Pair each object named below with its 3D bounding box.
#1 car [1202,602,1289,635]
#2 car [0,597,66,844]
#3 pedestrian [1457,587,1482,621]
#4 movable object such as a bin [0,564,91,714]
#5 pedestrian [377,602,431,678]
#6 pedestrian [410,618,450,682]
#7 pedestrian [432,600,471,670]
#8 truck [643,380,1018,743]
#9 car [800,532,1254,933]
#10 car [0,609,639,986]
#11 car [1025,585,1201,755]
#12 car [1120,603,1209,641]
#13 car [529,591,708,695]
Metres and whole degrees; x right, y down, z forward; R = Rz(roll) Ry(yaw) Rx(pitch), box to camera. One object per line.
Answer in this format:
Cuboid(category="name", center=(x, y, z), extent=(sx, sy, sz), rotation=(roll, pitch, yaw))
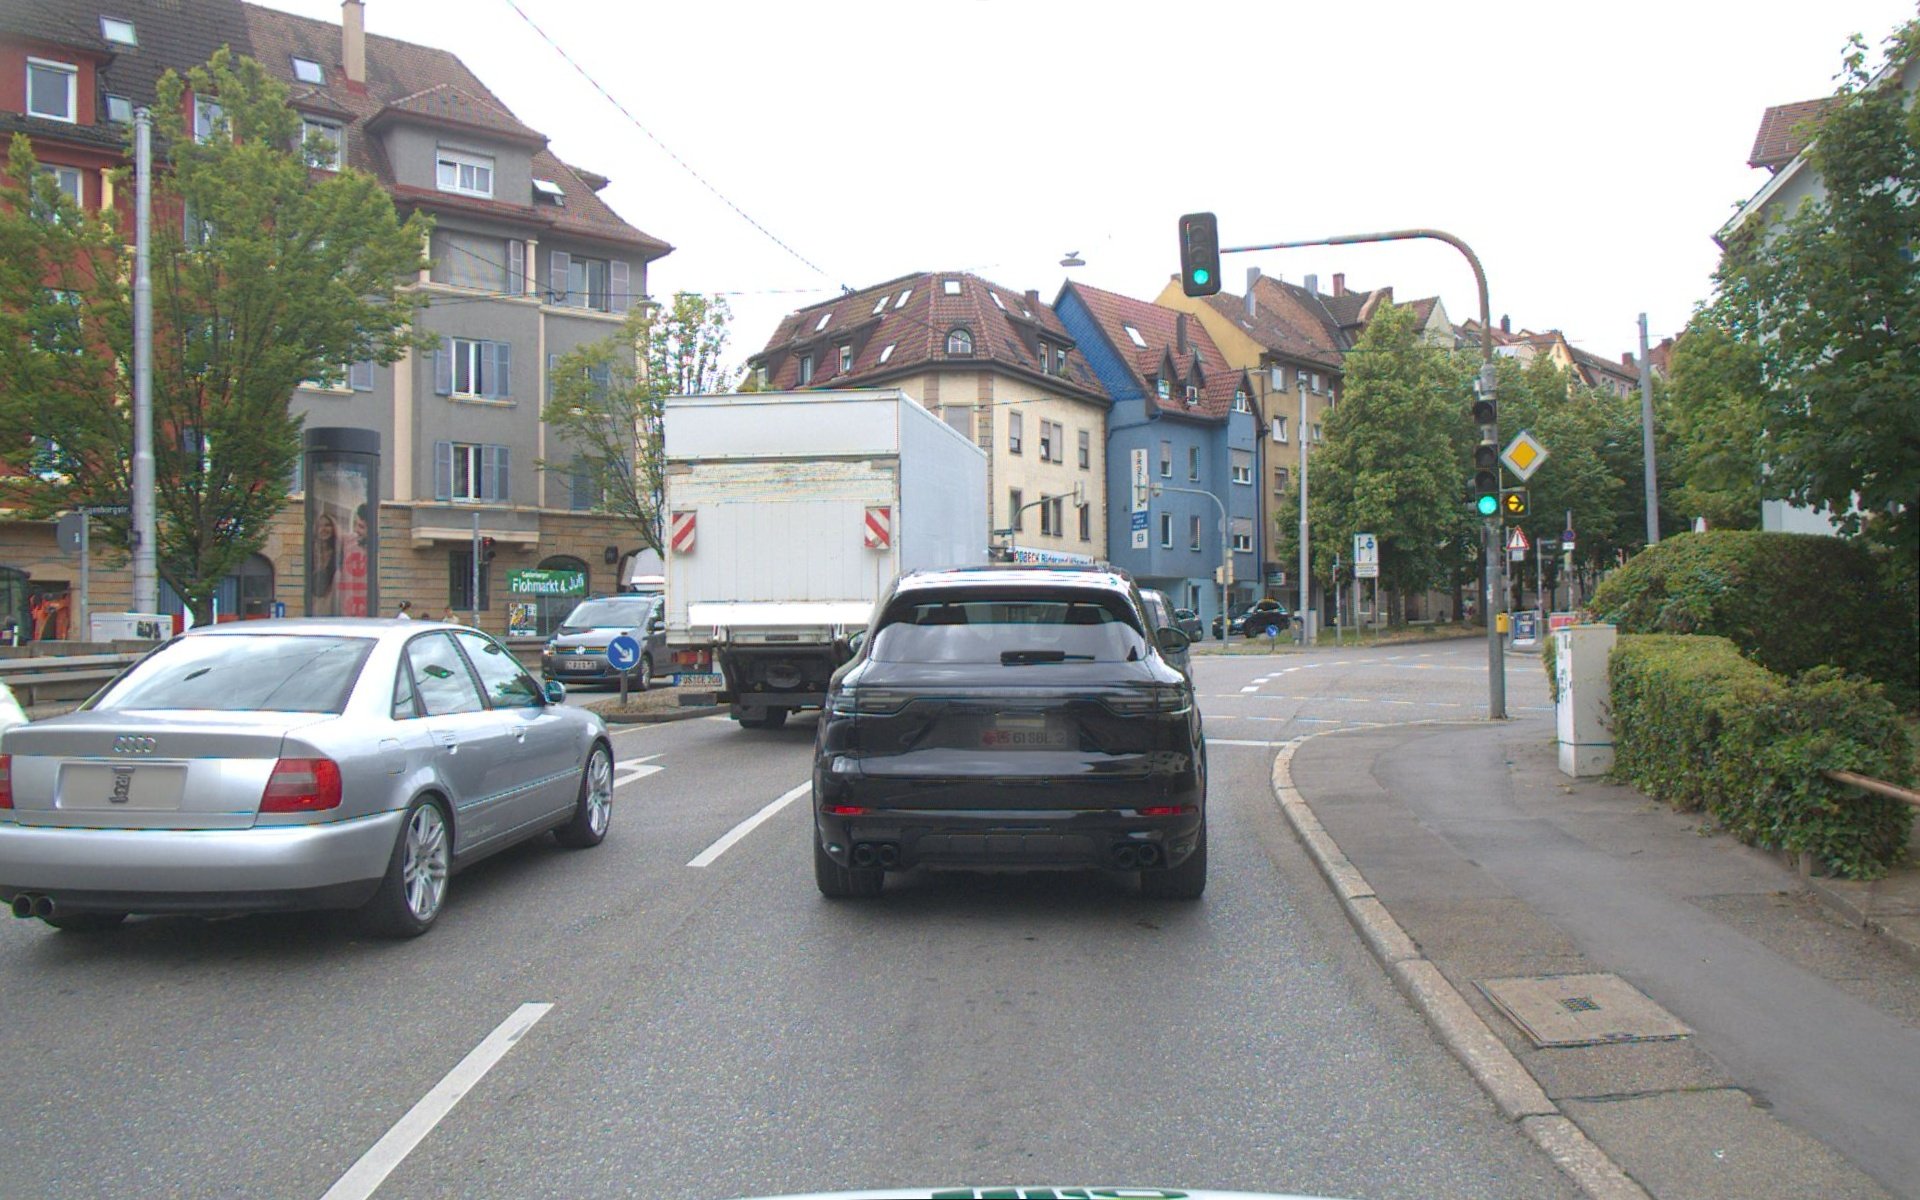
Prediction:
Cuboid(category="car", center=(13.043, 0.848, 75.347), extent=(1.841, 1.441, 4.675), rotation=(-2, -2, 39))
Cuboid(category="car", center=(-6.474, 0.721, 8.826), extent=(1.565, 1.472, 3.529), rotation=(-1, 0, -2))
Cuboid(category="pedestrian", center=(30.906, 0.233, 100.390), extent=(1.173, 2.049, 0.984), rotation=(-1, 0, 39))
Cuboid(category="movable object such as a bin", center=(-14.023, 0.549, 24.246), extent=(1.351, 2.049, 3.525), rotation=(-1, 0, -13))
Cuboid(category="pedestrian", center=(-11.699, 0.839, 34.824), extent=(0.777, 1.573, 0.737), rotation=(0, 0, 27))
Cuboid(category="pedestrian", center=(-11.407, 1.078, 35.630), extent=(0.563, 1.361, 0.583), rotation=(-1, 0, 25))
Cuboid(category="pedestrian", center=(-11.128, 0.756, 36.224), extent=(0.511, 1.513, 0.653), rotation=(0, 0, 21))
Cuboid(category="truck", center=(-1.183, -0.407, 20.801), extent=(2.667, 3.606, 8.428), rotation=(1, 0, 10))
Cuboid(category="car", center=(0.259, 0.567, 9.560), extent=(1.990, 1.753, 4.499), rotation=(1, 1, -1))
Cuboid(category="car", center=(-3.002, 0.776, 8.390), extent=(1.594, 1.389, 4.131), rotation=(-1, 0, 5))
Cuboid(category="car", center=(1.707, 0.675, 17.501), extent=(1.613, 1.583, 3.586), rotation=(1, -1, 9))
Cuboid(category="car", center=(8.671, 0.917, 69.887), extent=(1.691, 1.502, 4.195), rotation=(-2, -2, 41))
Cuboid(category="car", center=(-6.084, 0.716, 30.072), extent=(1.864, 1.744, 4.722), rotation=(0, 0, 6))
